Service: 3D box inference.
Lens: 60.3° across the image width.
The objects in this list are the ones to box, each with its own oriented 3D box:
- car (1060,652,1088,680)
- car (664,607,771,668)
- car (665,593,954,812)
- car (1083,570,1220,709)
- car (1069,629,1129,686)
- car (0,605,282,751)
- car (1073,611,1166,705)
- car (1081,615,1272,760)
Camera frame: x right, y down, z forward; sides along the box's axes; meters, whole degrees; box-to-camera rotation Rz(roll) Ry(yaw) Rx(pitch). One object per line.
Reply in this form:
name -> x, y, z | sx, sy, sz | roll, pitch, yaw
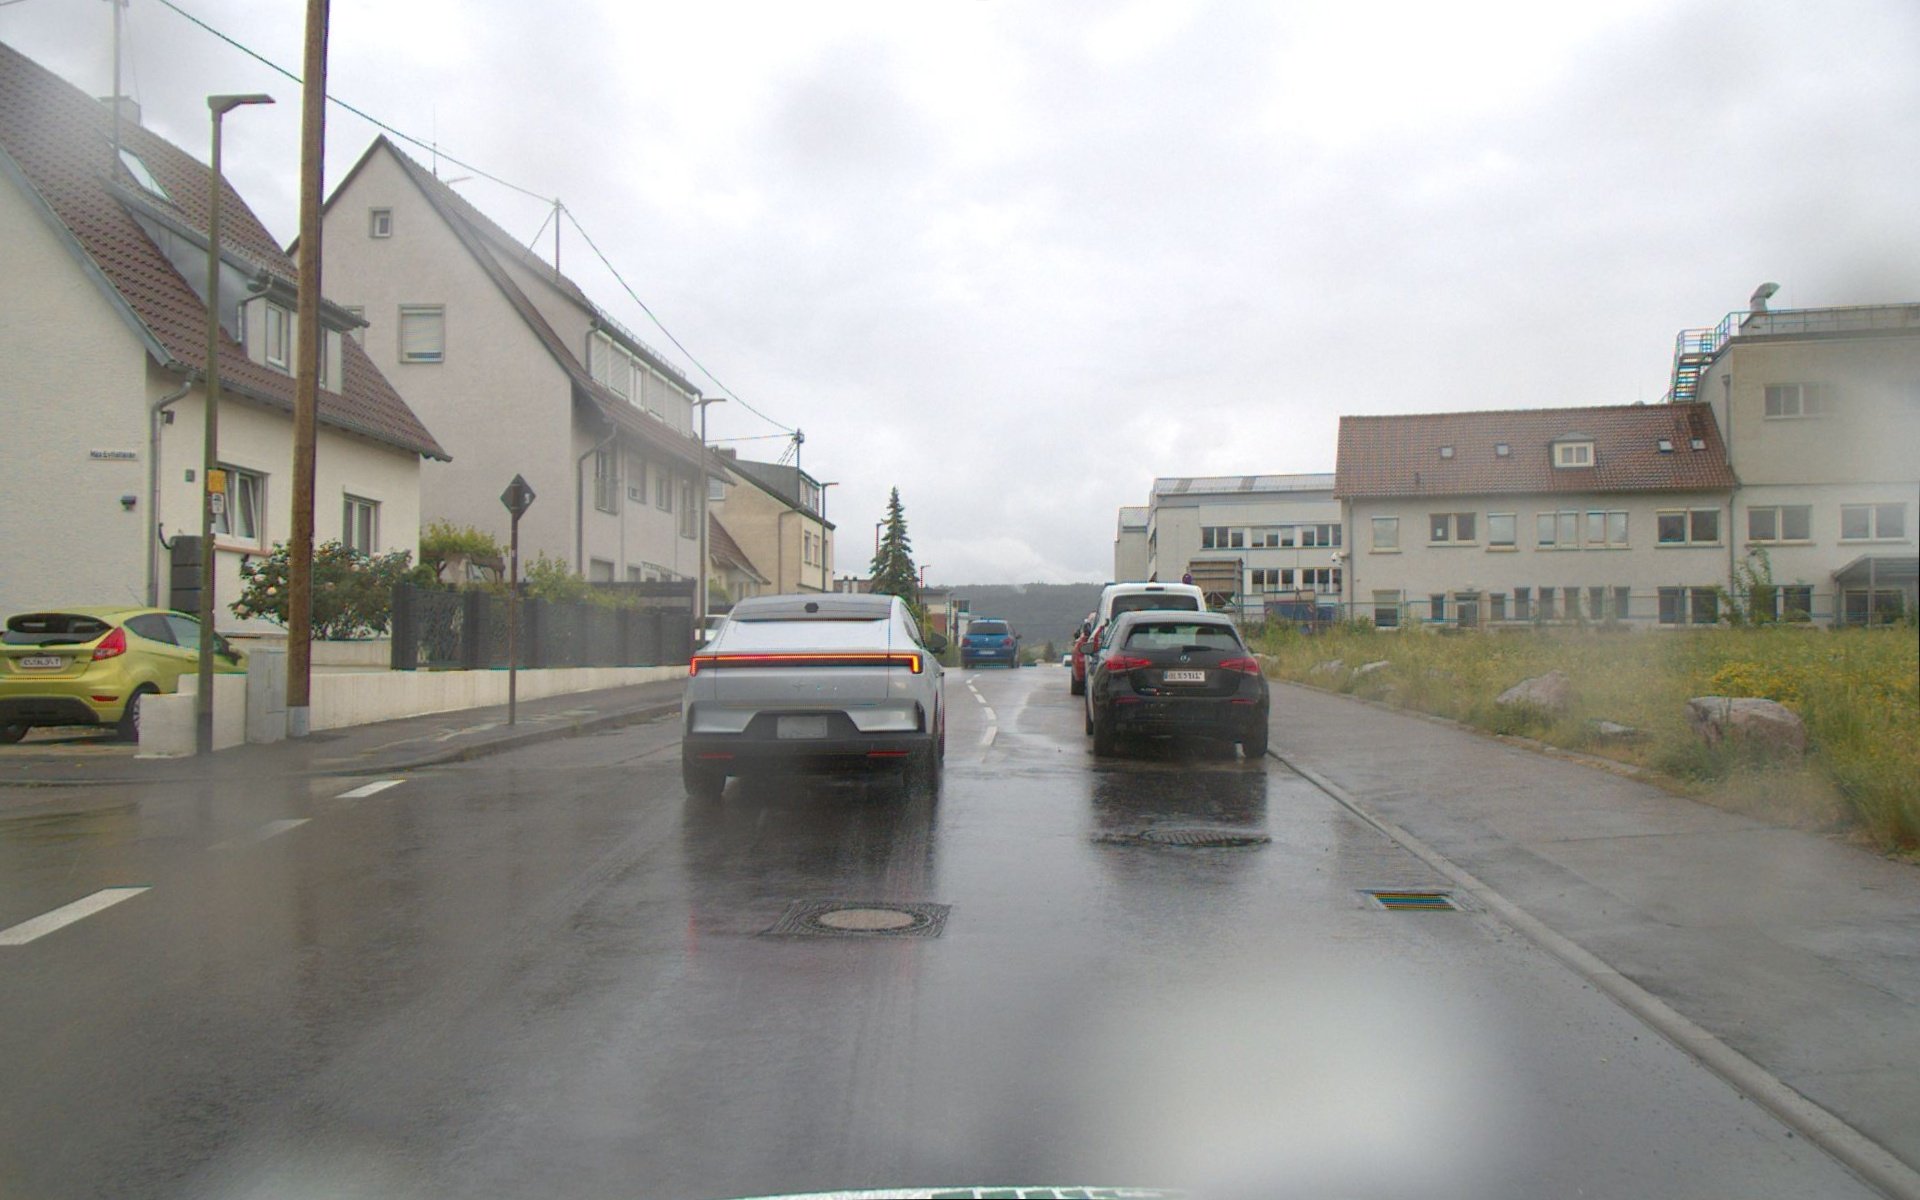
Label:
car -> 8.934, 5.216, 129.989 | 1.953, 2.049, 3.999 | -1, -5, 0
car -> -6.811, 1.043, 46.942 | 1.952, 1.536, 4.897 | 3, -1, 3
car -> -1.058, 0.747, 13.877 | 1.952, 1.528, 4.669 | 0, -1, 0
car -> 2.758, 0.562, 24.670 | 1.731, 1.857, 4.576 | 1, -1, 3
car -> 4.088, 1.682, 48.981 | 1.646, 1.585, 3.675 | 1, -1, 3
car -> -9.405, 0.853, 18.821 | 1.741, 1.493, 3.458 | 0, -2, 4
car -> 2.988, 1.045, 31.213 | 1.608, 1.602, 4.646 | 1, -1, 5
car -> 2.228, 0.863, 17.998 | 1.731, 1.359, 4.322 | 1, -1, 3
